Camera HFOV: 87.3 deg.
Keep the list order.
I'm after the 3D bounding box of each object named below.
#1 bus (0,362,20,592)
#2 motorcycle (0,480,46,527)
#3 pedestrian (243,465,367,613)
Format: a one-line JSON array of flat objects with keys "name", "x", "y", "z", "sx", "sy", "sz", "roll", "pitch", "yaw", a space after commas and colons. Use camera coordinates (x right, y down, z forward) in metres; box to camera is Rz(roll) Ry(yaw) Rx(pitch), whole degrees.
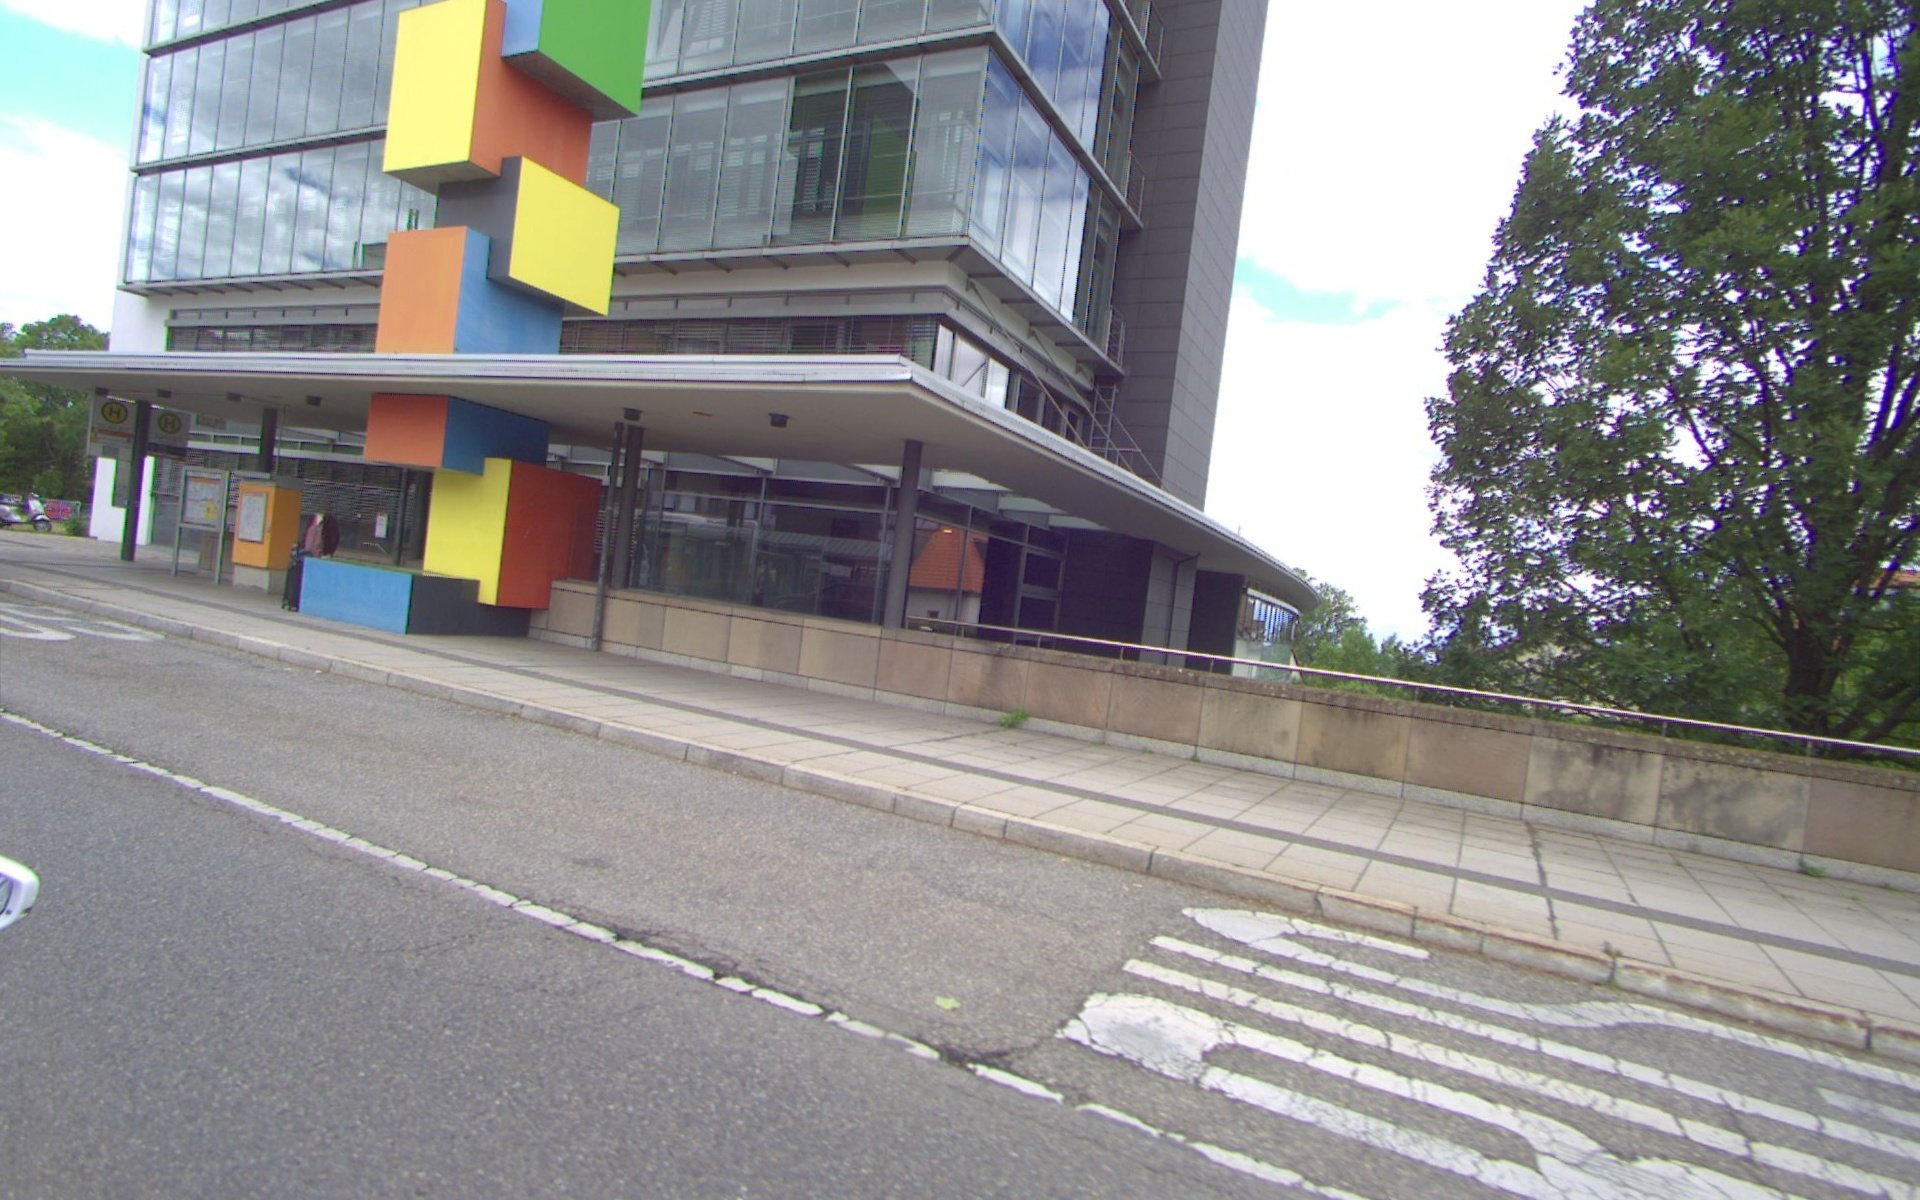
[{"name": "bus", "x": -17.584, "y": -2.214, "z": 14.919, "sx": 8.718, "sy": 3.148, "sz": 2.715, "roll": 7, "pitch": 1, "yaw": 30}, {"name": "motorcycle", "x": -28.072, "y": -2.889, "z": 29.677, "sx": 1.552, "sy": 1.237, "sz": 0.584, "roll": 6, "pitch": 1, "yaw": -2}, {"name": "pedestrian", "x": -9.816, "y": -0.892, "z": 15.101, "sx": 0.865, "sy": 2.039, "sz": 1.141, "roll": 7, "pitch": 2, "yaw": 29}]
